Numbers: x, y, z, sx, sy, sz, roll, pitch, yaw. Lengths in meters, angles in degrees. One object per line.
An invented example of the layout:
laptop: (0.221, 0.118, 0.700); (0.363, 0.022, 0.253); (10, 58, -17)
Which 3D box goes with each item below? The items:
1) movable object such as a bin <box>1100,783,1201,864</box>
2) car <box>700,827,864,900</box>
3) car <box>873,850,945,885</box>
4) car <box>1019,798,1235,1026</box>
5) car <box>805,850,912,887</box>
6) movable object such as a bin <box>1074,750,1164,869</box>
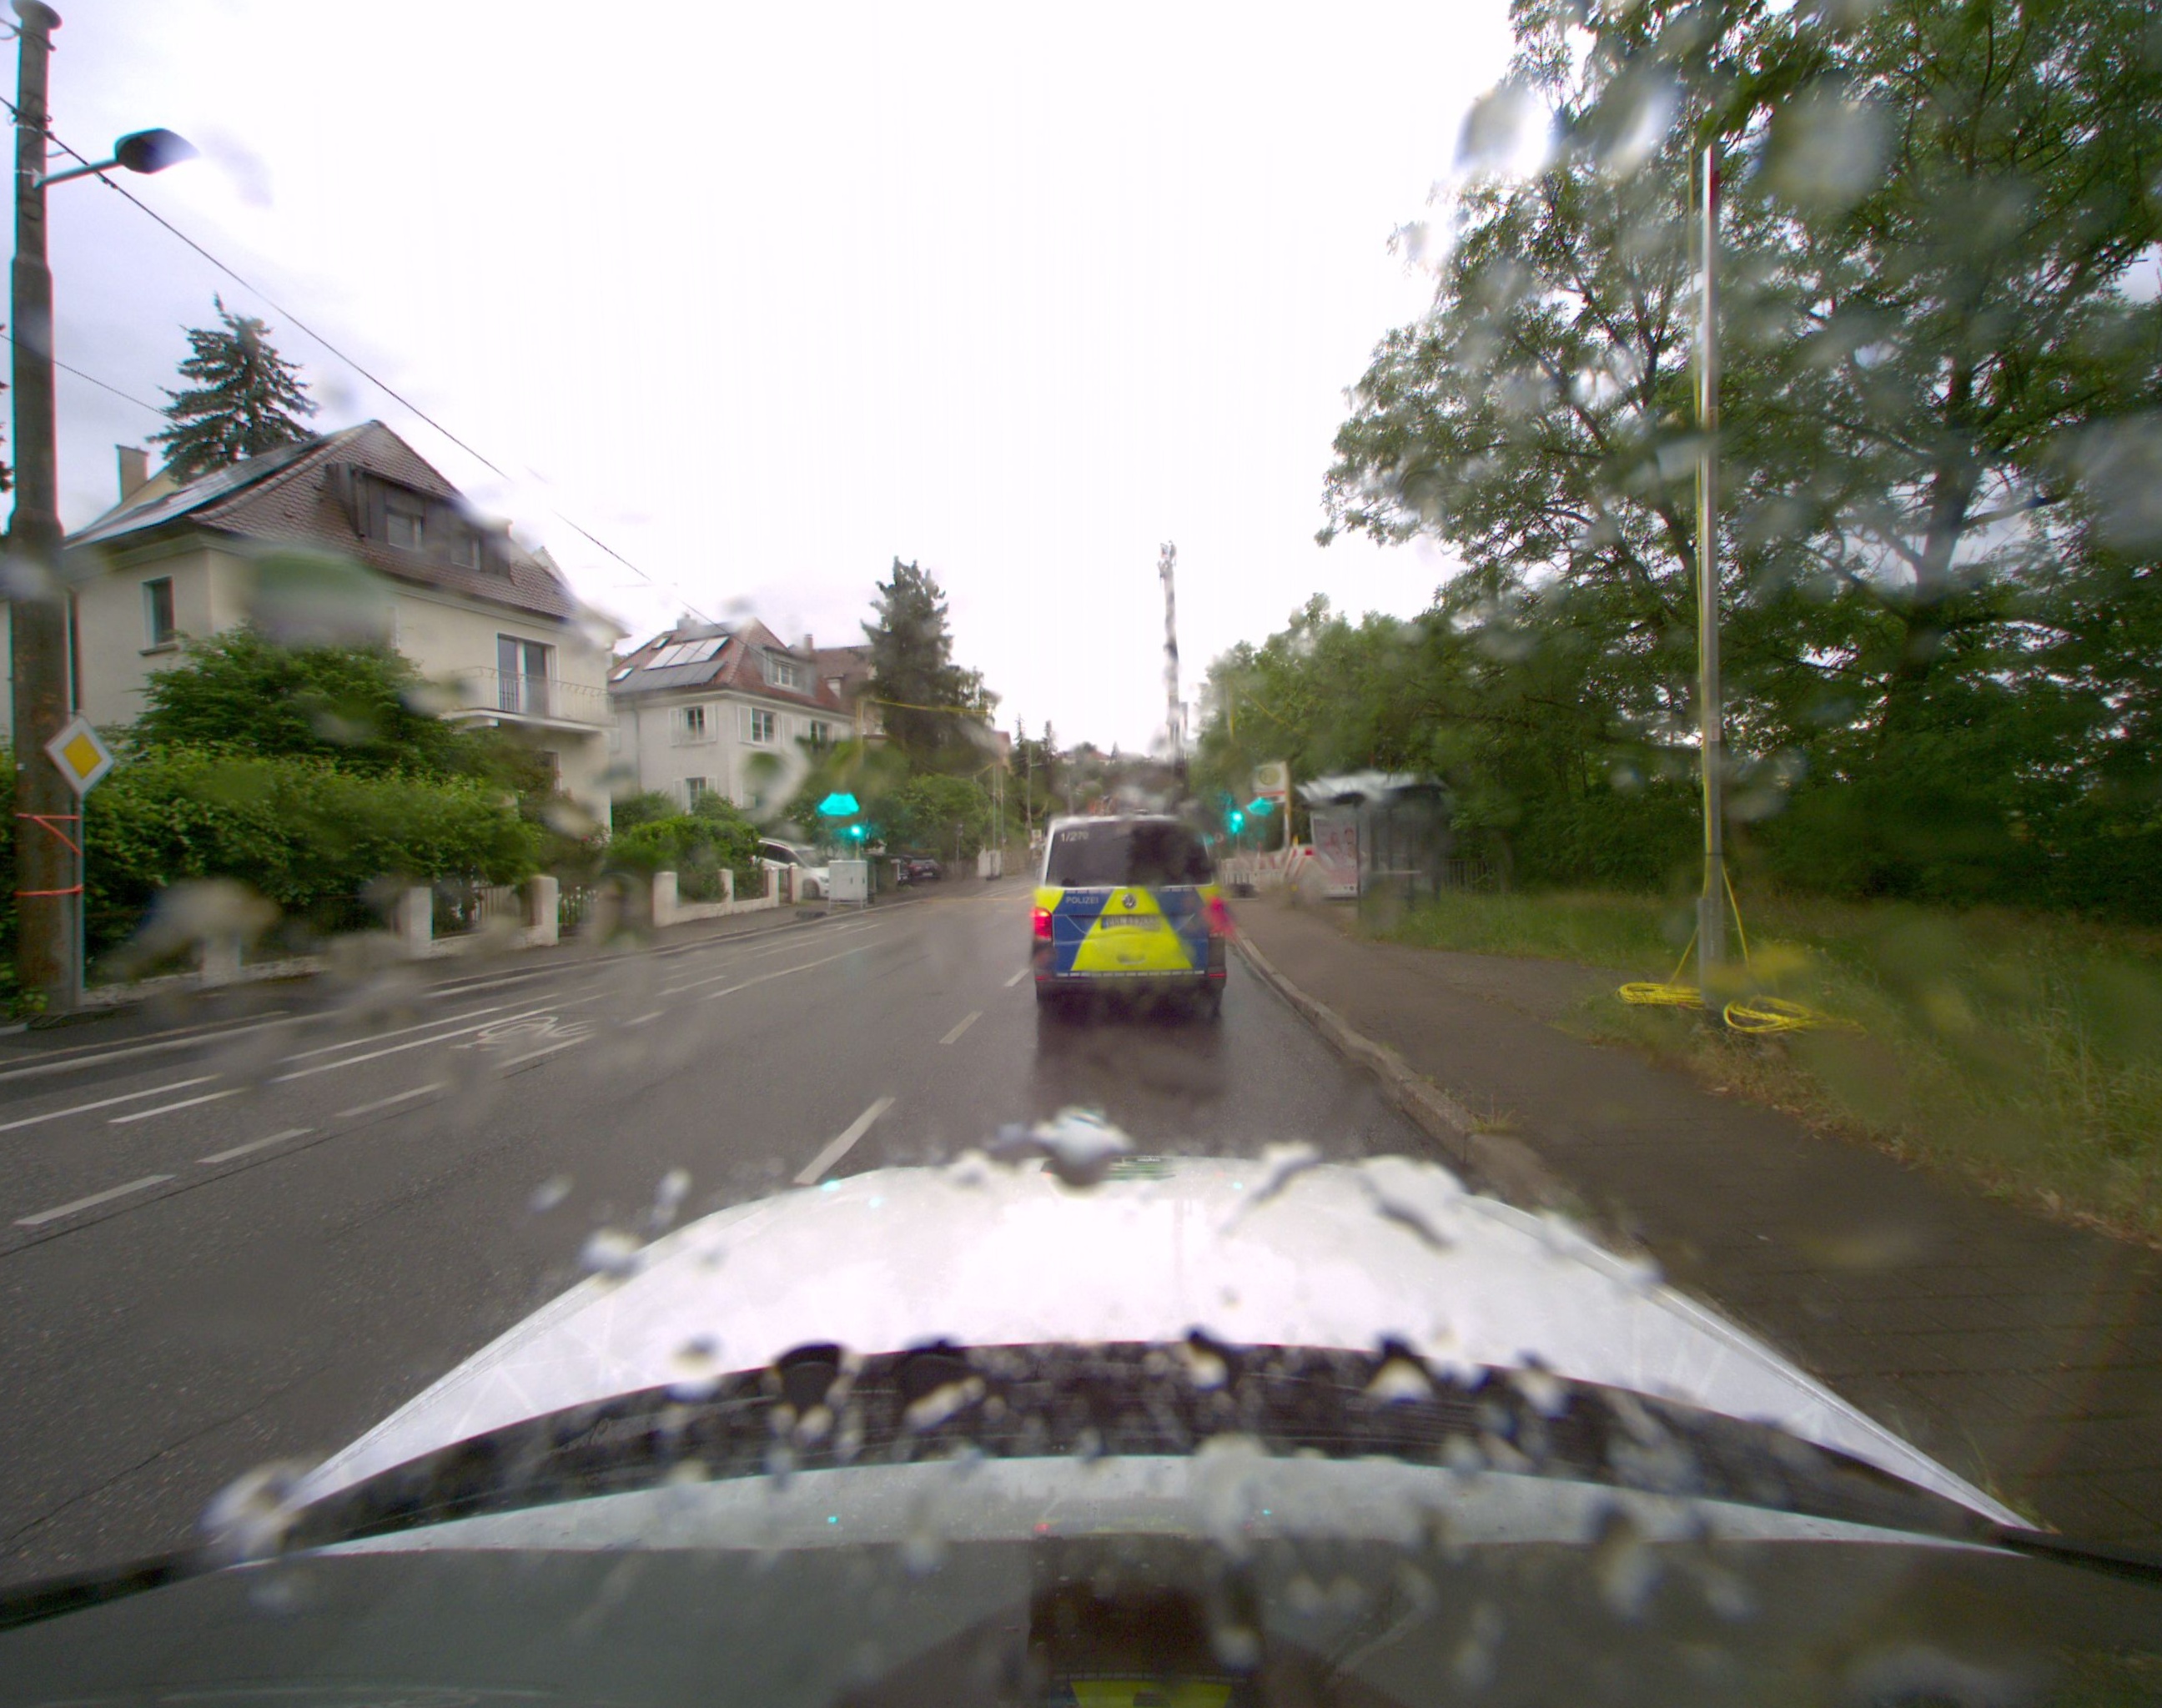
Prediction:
movable object such as a bin: (4.886, -1.983, 55.806); (3.646, 5.066, 7.208); (-3, -1, 34)
car: (-10.193, 0.271, 27.846); (4.927, 1.616, 1.872); (9, 4, 15)
car: (-8.059, 0.605, 37.885); (1.795, 1.525, 3.955); (0, -1, -37)
car: (0.472, 0.541, 9.454); (1.901, 2.010, 4.441); (0, -1, 2)
car: (-9.518, 0.616, 34.995); (3.958, 1.525, 1.948); (-1, -1, 15)
movable object such as a bin: (1.572, -1.643, 31.657); (2.862, 4.170, 4.498); (-2, 1, 9)
